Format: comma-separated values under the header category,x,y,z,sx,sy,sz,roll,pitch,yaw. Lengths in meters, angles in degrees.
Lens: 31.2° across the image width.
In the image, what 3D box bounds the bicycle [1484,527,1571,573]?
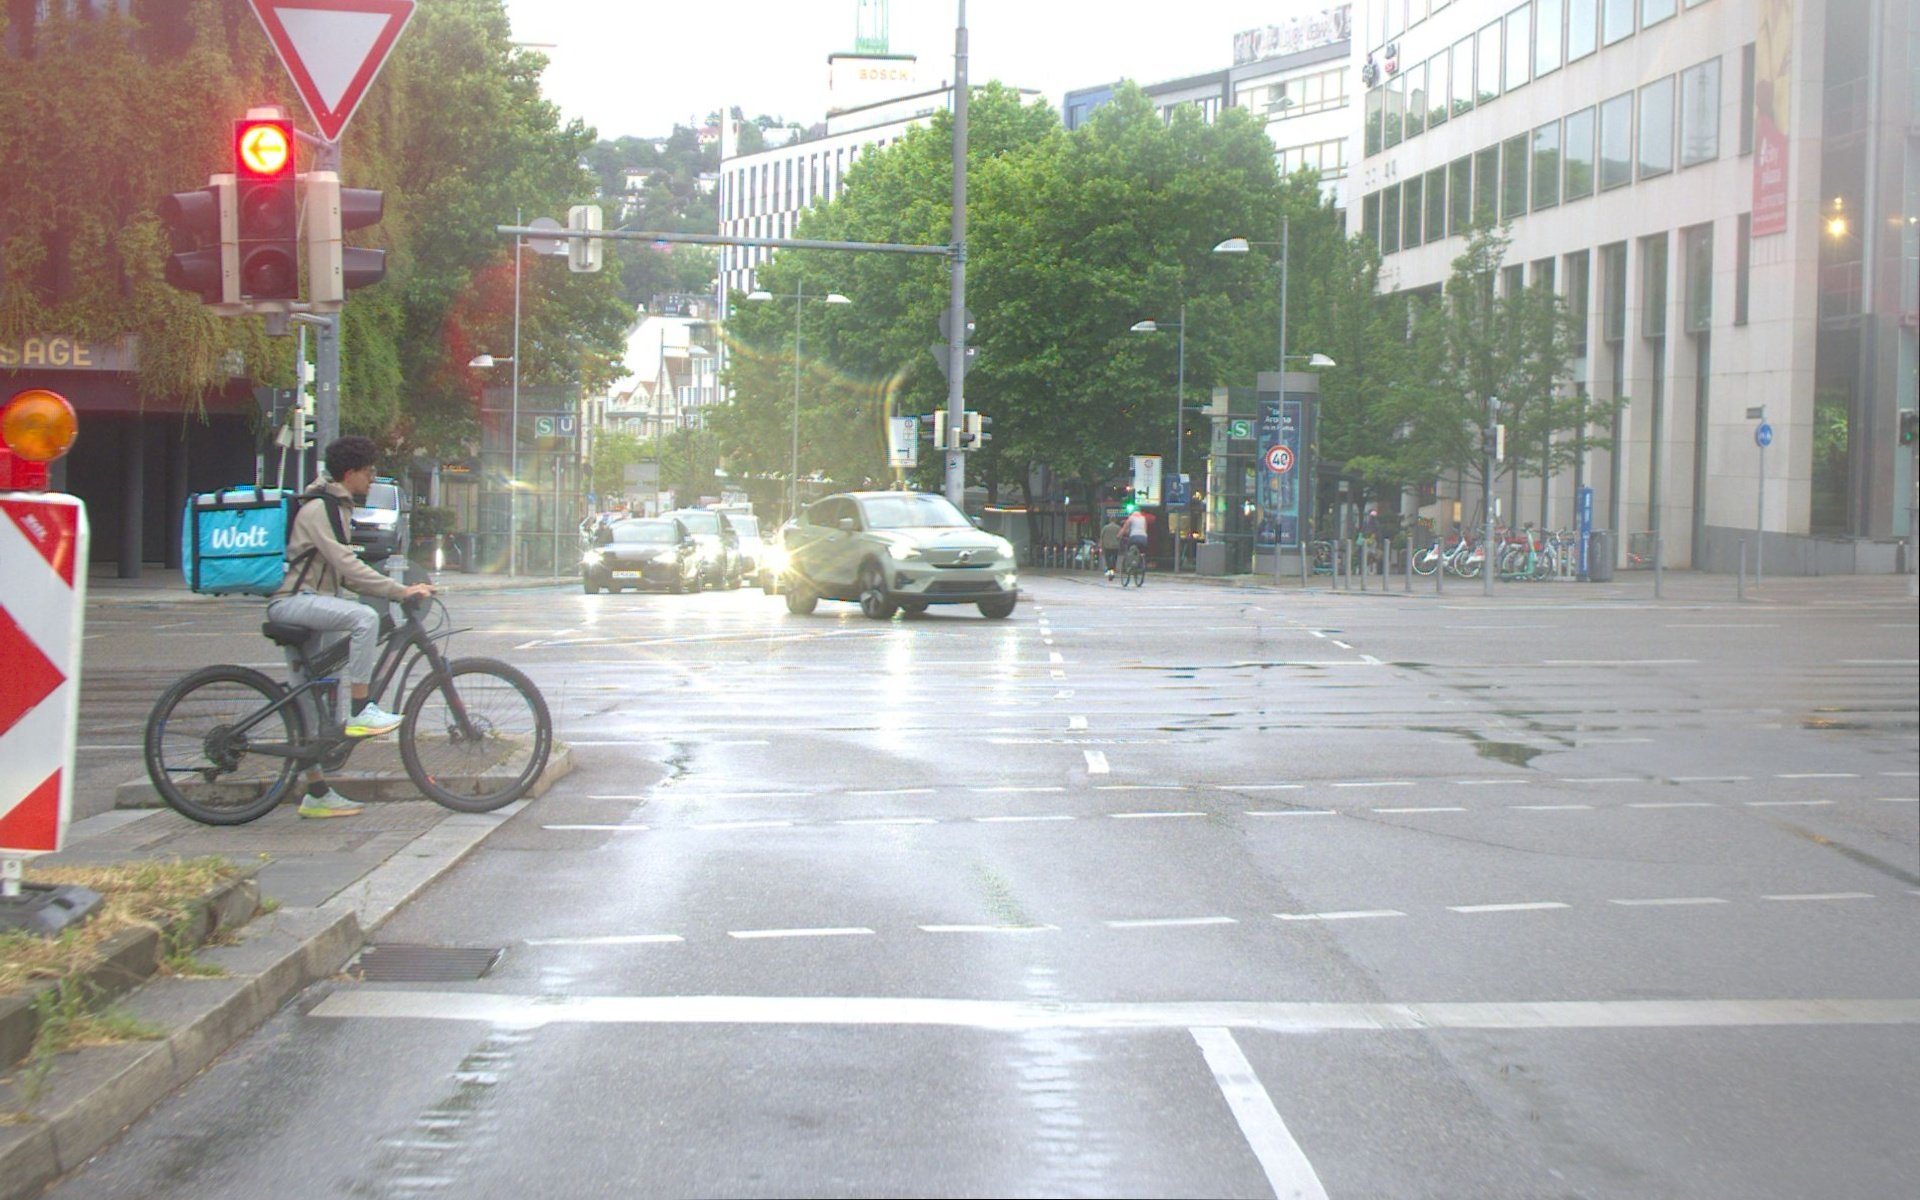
category,x,y,z,sx,sy,sz,roll,pitch,yaw
bicycle,11.857,-1.057,71.868,1.799,0.931,0.474,2,2,41

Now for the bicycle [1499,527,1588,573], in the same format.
category,x,y,z,sx,sy,sz,roll,pitch,yaw
bicycle,12.030,-1.036,70.902,1.799,0.931,0.474,2,2,41

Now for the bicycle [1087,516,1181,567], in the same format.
category,x,y,z,sx,sy,sz,roll,pitch,yaw
bicycle,3.960,-1.339,78.415,0.791,1.113,2.255,0,2,-41

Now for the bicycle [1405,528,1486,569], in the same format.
category,x,y,z,sx,sy,sz,roll,pitch,yaw
bicycle,11.115,-1.181,78.790,1.794,0.931,0.475,1,1,3

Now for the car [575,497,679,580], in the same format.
category,x,y,z,sx,sy,sz,roll,pitch,yaw
car,-6.156,-1.165,63.811,1.856,1.443,4.622,0,2,-5

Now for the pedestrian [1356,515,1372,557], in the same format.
category,x,y,z,sx,sy,sz,roll,pitch,yaw
pedestrian,11.167,-1.777,95.100,0.353,1.169,0.415,0,1,-6

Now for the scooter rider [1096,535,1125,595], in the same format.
category,x,y,z,sx,sy,sz,roll,pitch,yaw
scooter rider,4.448,-1.030,101.543,0.762,1.768,0.796,0,1,-4

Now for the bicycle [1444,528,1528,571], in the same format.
category,x,y,z,sx,sy,sz,roll,pitch,yaw
bicycle,11.764,-1.136,76.941,1.794,0.931,0.475,1,1,3

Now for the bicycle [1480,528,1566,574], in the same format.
category,x,y,z,sx,sy,sz,roll,pitch,yaw
bicycle,11.887,-1.035,72.614,1.799,0.931,0.474,2,2,41

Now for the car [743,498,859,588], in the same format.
category,x,y,z,sx,sy,sz,roll,pitch,yaw
car,-2.924,-1.057,62.277,1.993,1.481,4.465,0,3,-4

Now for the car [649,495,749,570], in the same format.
category,x,y,z,sx,sy,sz,roll,pitch,yaw
car,-5.380,-1.401,70.440,1.856,1.443,4.622,0,2,-7

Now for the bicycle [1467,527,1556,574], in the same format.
category,x,y,z,sx,sy,sz,roll,pitch,yaw
bicycle,11.264,-1.024,70.261,1.799,0.931,0.474,2,2,41

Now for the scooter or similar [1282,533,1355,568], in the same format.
category,x,y,z,sx,sy,sz,roll,pitch,yaw
scooter or similar,8.949,-1.243,85.795,1.745,0.875,0.489,0,1,-19

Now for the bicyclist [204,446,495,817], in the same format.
category,x,y,z,sx,sy,sz,roll,pitch,yaw
bicyclist,-2.902,0.134,16.269,1.294,1.698,0.848,0,1,-14

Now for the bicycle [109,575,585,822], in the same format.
category,x,y,z,sx,sy,sz,roll,pitch,yaw
bicycle,-2.909,0.445,16.256,2.145,1.099,0.848,0,2,-15

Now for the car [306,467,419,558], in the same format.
category,x,y,z,sx,sy,sz,roll,pitch,yaw
car,-12.887,-1.900,74.371,1.993,1.888,4.466,0,2,-5

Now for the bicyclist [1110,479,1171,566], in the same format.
category,x,y,z,sx,sy,sz,roll,pitch,yaw
bicyclist,4.106,-1.765,78.240,0.791,1.968,1.114,0,2,-41

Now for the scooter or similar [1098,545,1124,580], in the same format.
category,x,y,z,sx,sy,sz,roll,pitch,yaw
scooter or similar,4.451,-1.117,101.478,0.556,1.003,1.824,0,1,-3

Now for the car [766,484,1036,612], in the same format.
category,x,y,z,sx,sy,sz,roll,pitch,yaw
car,-0.826,-0.700,43.982,1.993,1.545,4.557,0,2,-21

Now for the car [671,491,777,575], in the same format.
category,x,y,z,sx,sy,sz,roll,pitch,yaw
car,-5.333,-1.523,77.257,2.174,1.817,4.645,0,2,-6
